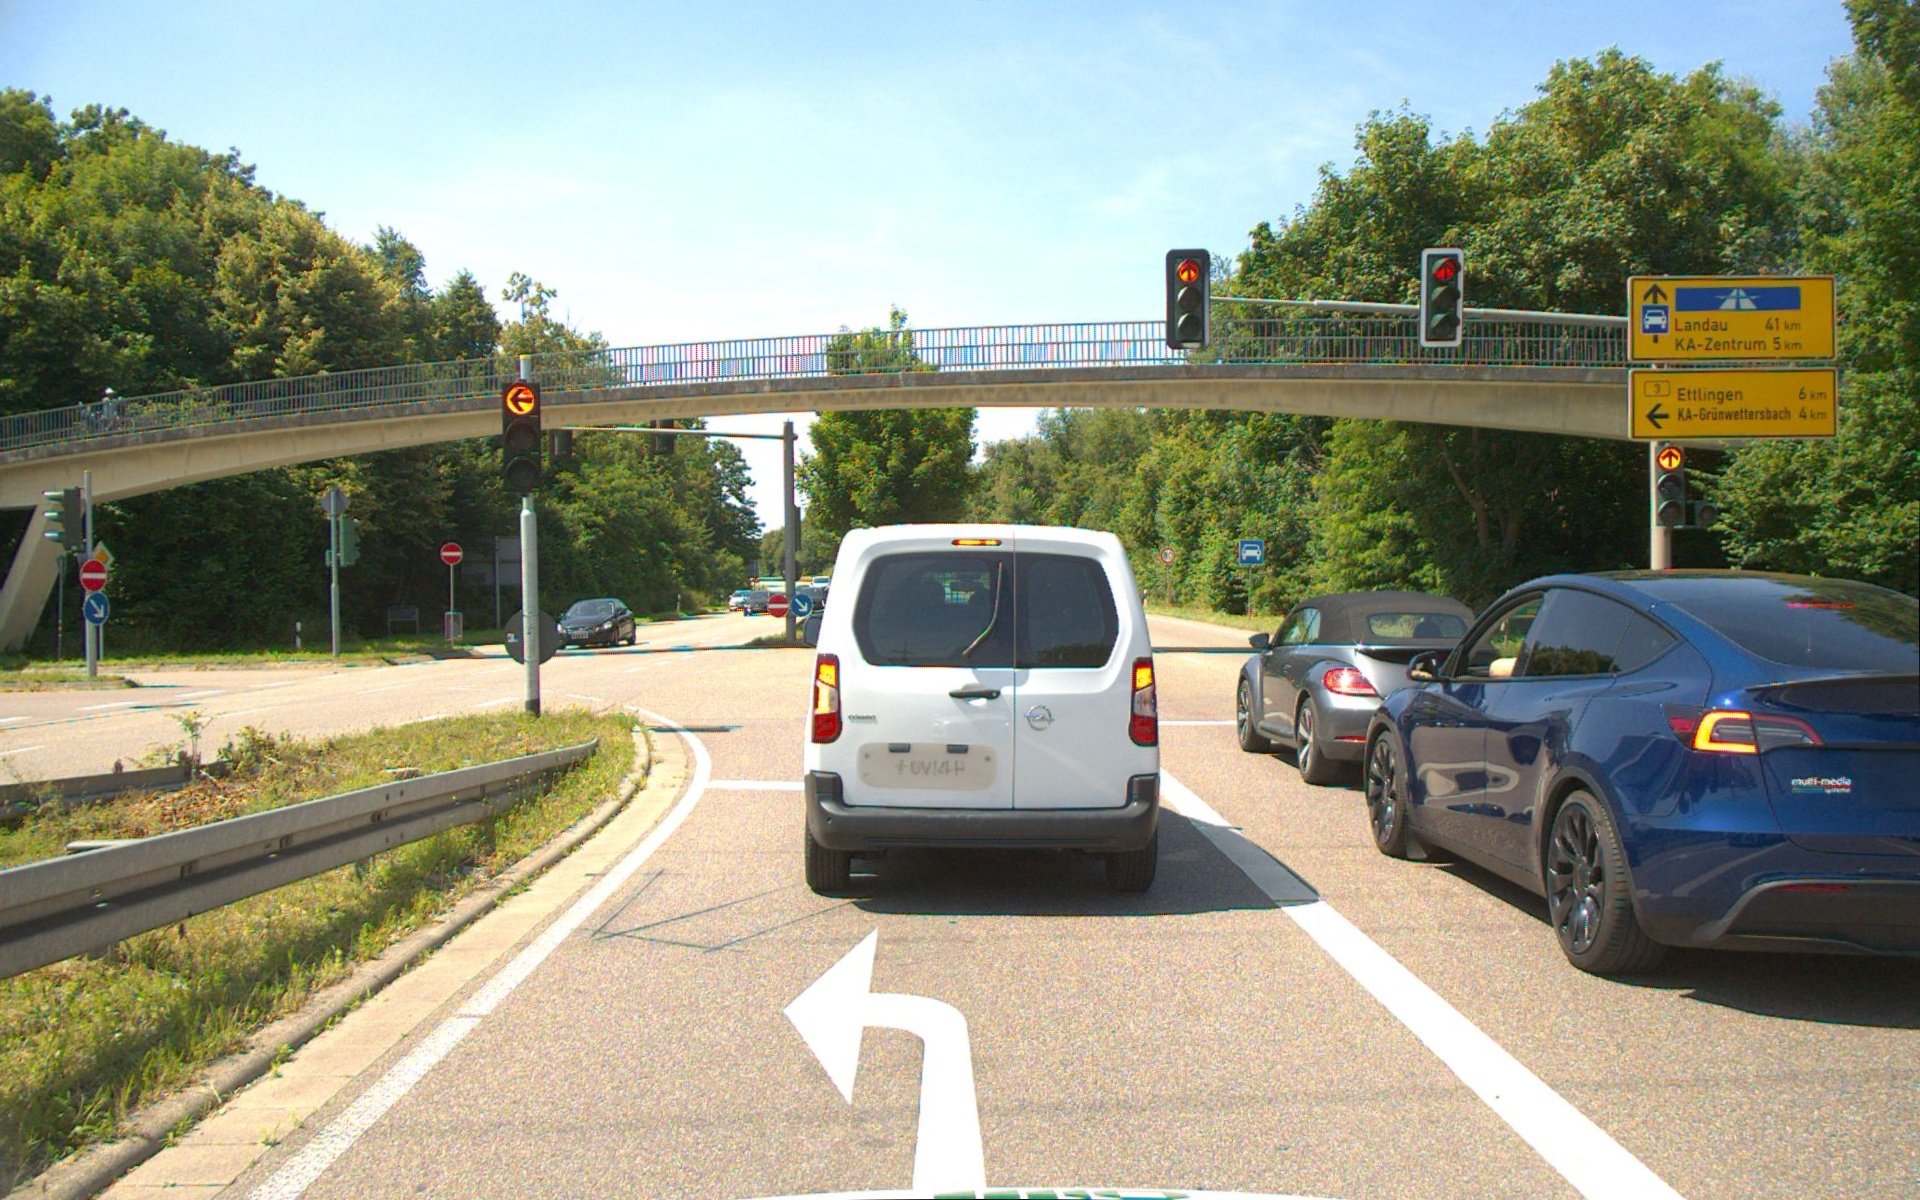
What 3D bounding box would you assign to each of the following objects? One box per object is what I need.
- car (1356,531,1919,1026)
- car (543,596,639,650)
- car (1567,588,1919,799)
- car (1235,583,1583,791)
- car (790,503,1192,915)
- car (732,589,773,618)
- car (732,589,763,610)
[{"bbox_3d":[3.380,0.592,7.884,1.861,1.673,4.520,1,1,0],"label":"car"},{"bbox_3d":[-11.116,0.654,50.063,1.967,1.486,4.055,-2,0,0],"label":"car"},{"bbox_3d":[6.946,0.670,14.159,1.861,1.503,4.380,1,1,0],"label":"car"},{"bbox_3d":[3.618,0.620,14.088,1.861,1.503,3.939,1,1,0],"label":"car"},{"bbox_3d":[0.103,0.461,9.531,1.811,1.857,3.981,1,1,-1],"label":"car"},{"bbox_3d":[-12.535,0.204,100.147,1.953,1.694,4.000,-1,1,0],"label":"car"},{"bbox_3d":[-15.301,-0.072,119.475,1.717,1.431,4.000,-1,1,0],"label":"car"}]
